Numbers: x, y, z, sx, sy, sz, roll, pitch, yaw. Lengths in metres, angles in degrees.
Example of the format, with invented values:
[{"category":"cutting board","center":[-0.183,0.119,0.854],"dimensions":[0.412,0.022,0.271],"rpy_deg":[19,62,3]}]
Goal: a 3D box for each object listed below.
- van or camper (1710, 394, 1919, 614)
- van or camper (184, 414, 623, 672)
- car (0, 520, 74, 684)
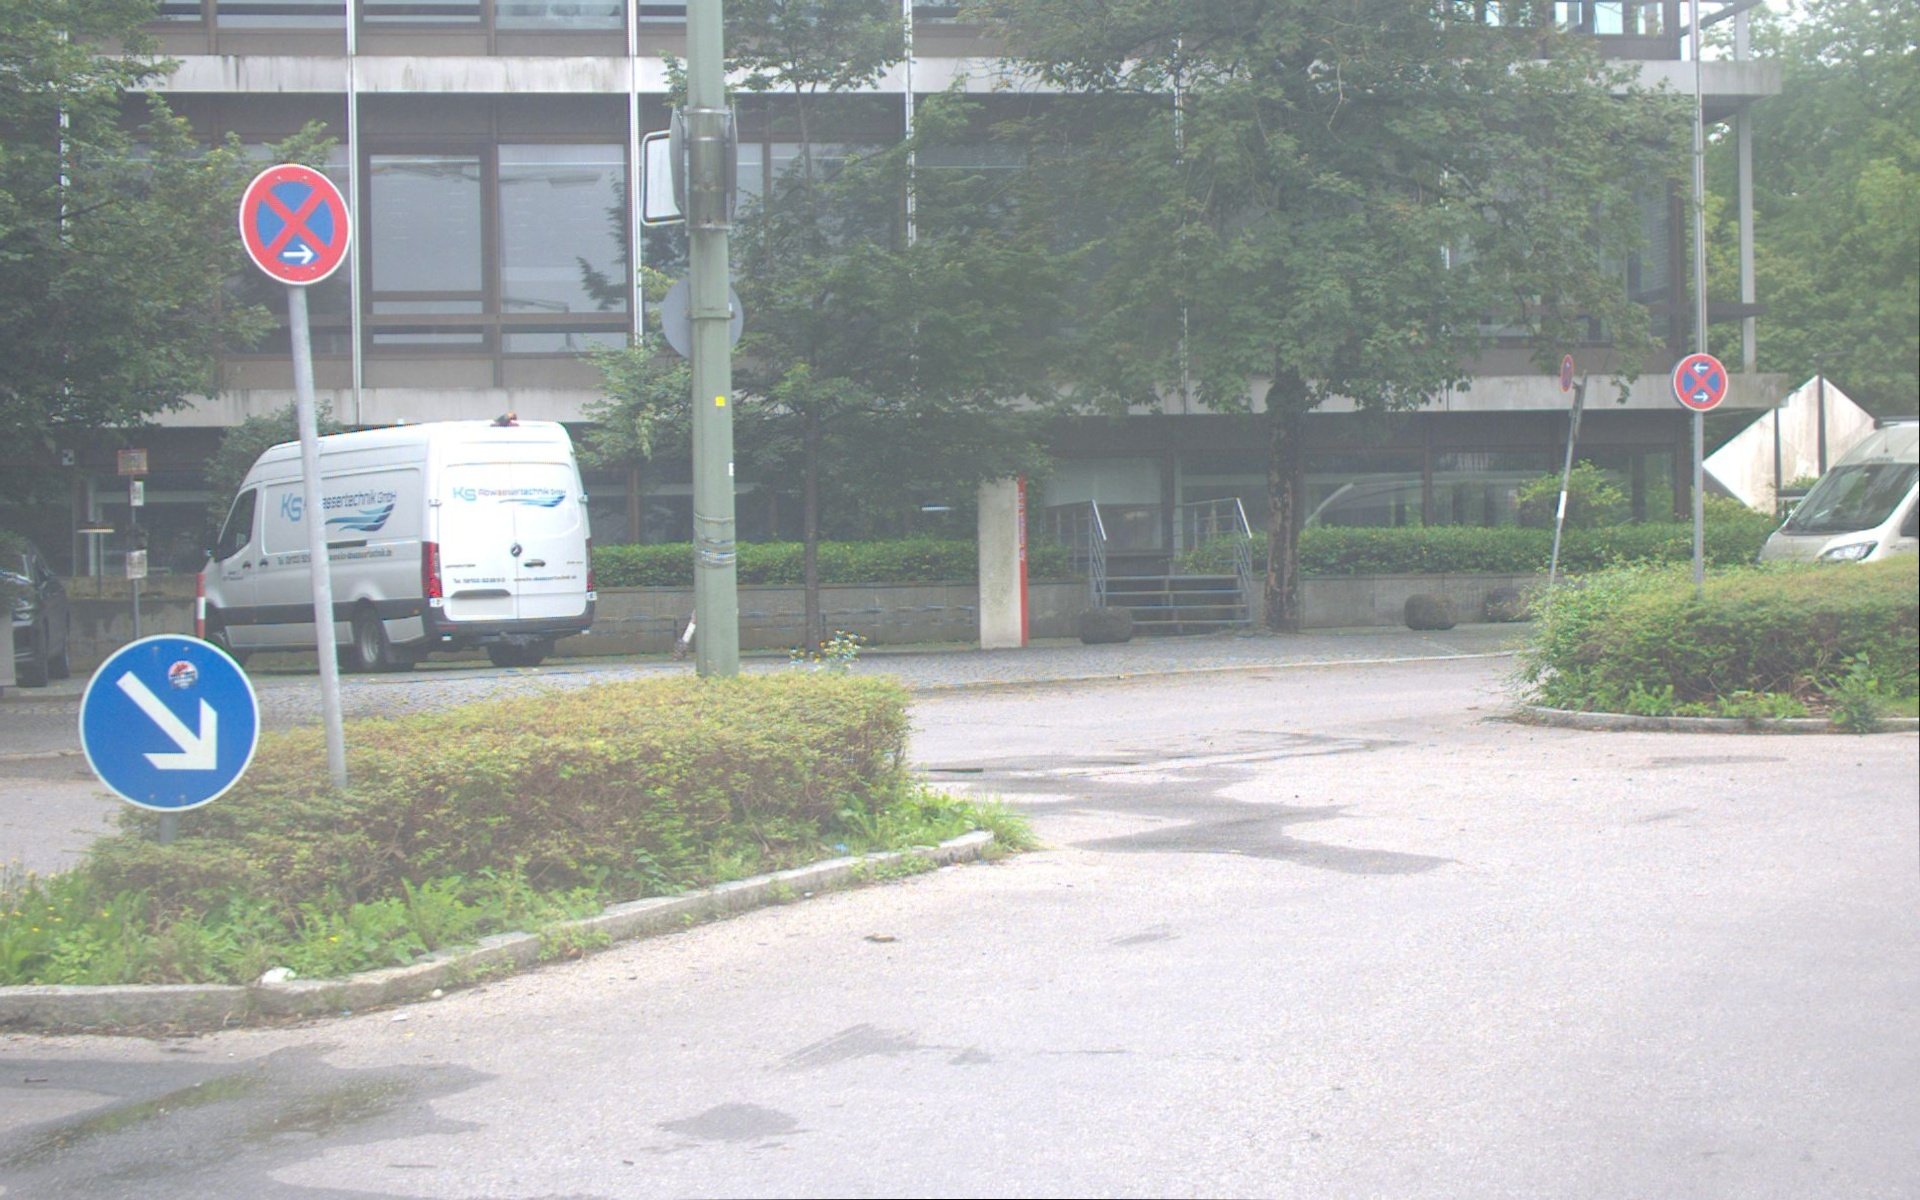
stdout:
[{"category":"van or camper","center":[11.603,-1.075,37.799],"dimensions":[6.396,2.273,2.255],"rpy_deg":[-1,1,-23]},{"category":"van or camper","center":[-6.297,-0.538,38.066],"dimensions":[2.156,2.572,6.538],"rpy_deg":[-1,-1,-34]},{"category":"car","center":[-10.923,0.004,38.181],"dimensions":[1.941,1.715,4.240],"rpy_deg":[-1,1,-13]}]
